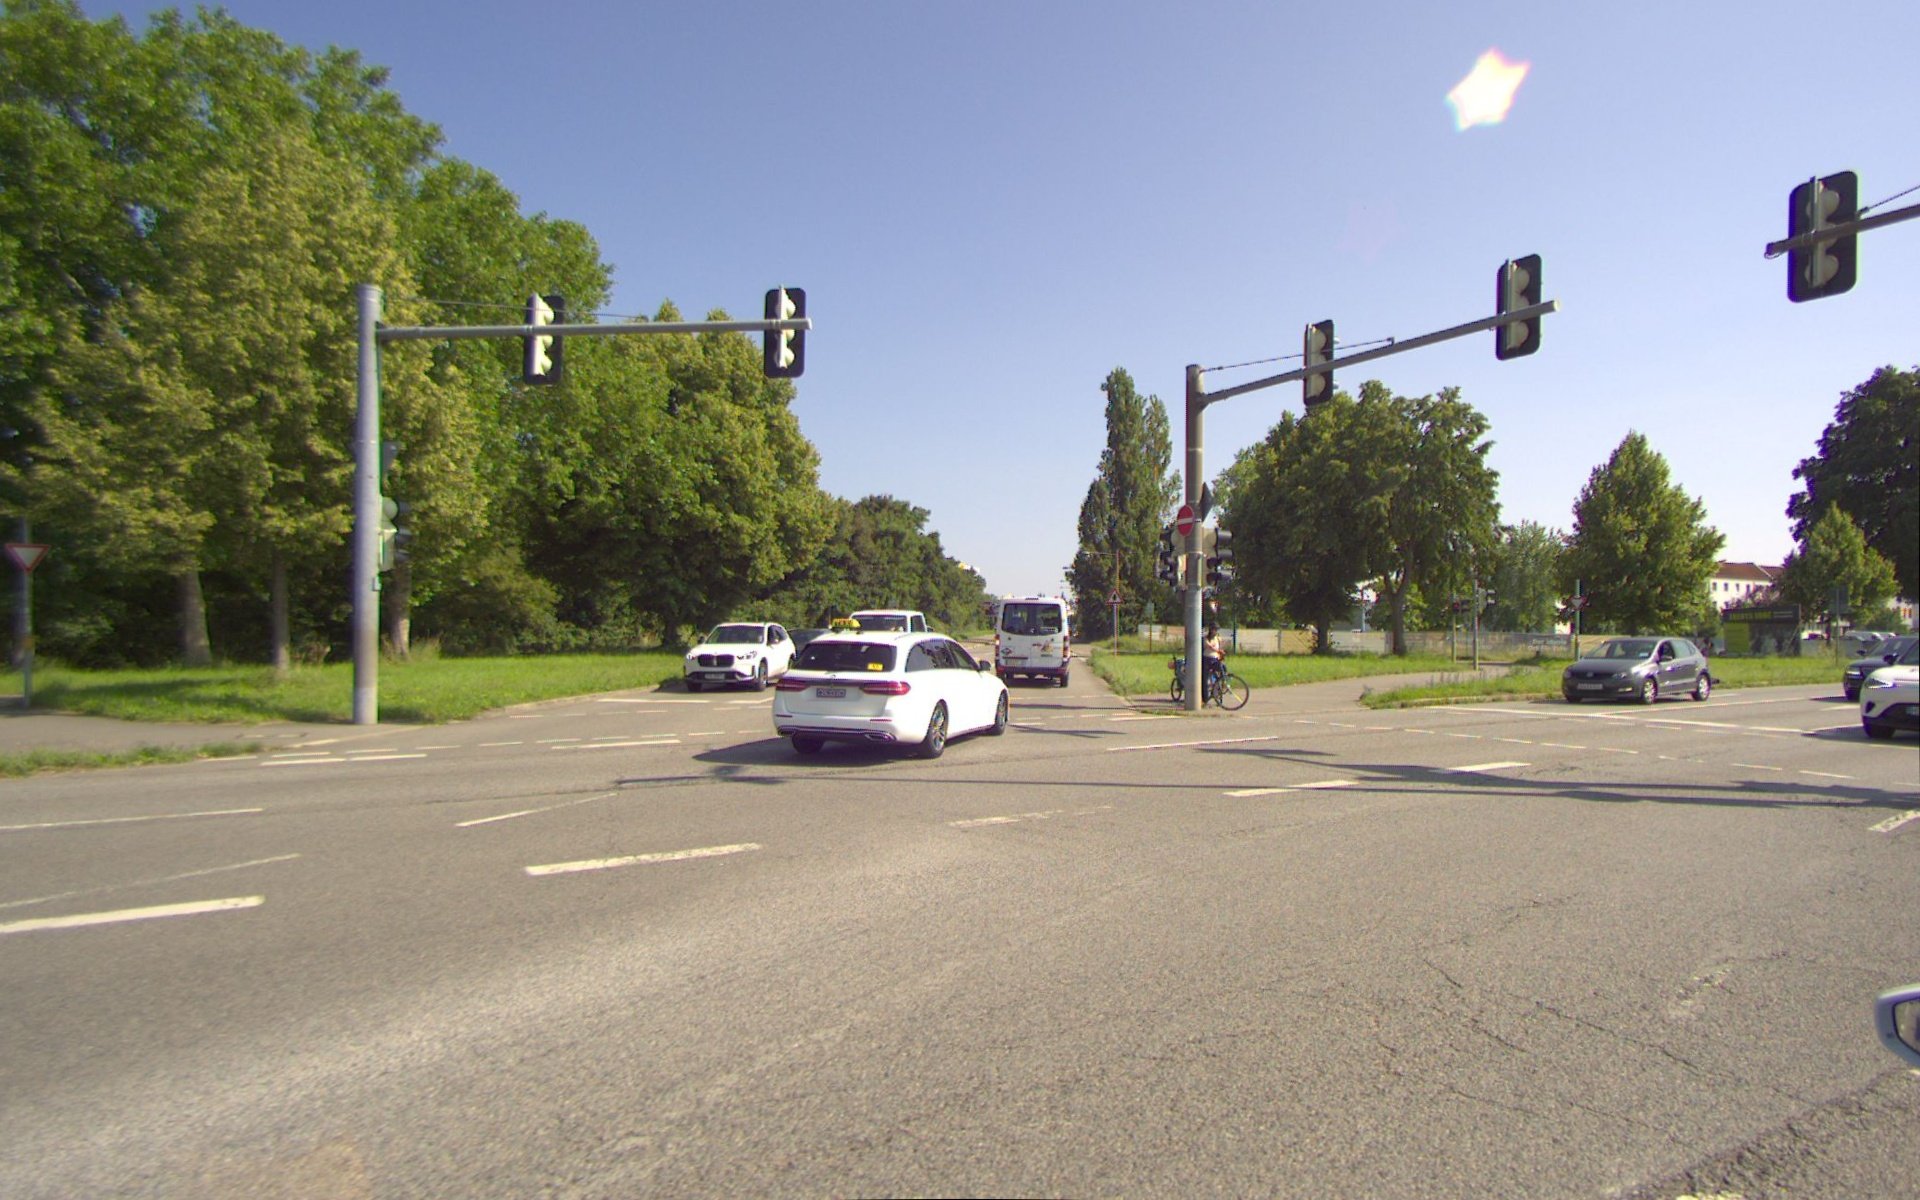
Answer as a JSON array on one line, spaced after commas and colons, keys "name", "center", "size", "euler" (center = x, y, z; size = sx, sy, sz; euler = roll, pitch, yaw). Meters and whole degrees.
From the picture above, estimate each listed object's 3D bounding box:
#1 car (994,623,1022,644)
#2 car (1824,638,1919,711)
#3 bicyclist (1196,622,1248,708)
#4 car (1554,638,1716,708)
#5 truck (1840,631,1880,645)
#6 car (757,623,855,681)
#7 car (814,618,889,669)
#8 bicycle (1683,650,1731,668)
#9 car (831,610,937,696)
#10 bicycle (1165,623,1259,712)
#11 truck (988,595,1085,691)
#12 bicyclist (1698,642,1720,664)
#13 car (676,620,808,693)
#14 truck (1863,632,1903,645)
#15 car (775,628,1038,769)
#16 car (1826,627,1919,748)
[{"name": "car", "center": [4.390, 3.020, 91.954], "size": [1.741, 1.773, 4.101], "euler": [2, 0, 14]}, {"name": "car", "center": [21.302, 1.595, 22.279], "size": [4.216, 1.456, 1.922], "euler": [1, -2, -29]}, {"name": "bicyclist", "center": [5.193, 1.265, 19.959], "size": [0.743, 1.640, 0.865], "euler": [2, 0, -2]}, {"name": "car", "center": [14.912, 1.571, 22.156], "size": [3.718, 1.433, 1.479], "euler": [1, -3, -30]}, {"name": "truck", "center": [145.823, 6.130, 162.746], "size": [2.028, 2.040, 4.479], "euler": [2, 0, -30]}, {"name": "car", "center": [-4.623, 1.538, 30.772], "size": [1.964, 1.627, 4.271], "euler": [0, -2, 5]}, {"name": "car", "center": [-4.024, 1.617, 38.006], "size": [1.964, 1.824, 4.510], "euler": [0, -2, 5]}, {"name": "bicycle", "center": [43.064, 3.387, 57.906], "size": [2.468, 0.963, 0.838], "euler": [1, -1, -13]}, {"name": "car", "center": [-1.844, 1.305, 25.952], "size": [1.960, 1.976, 4.658], "euler": [1, -1, 5]}, {"name": "bicycle", "center": [5.188, 1.345, 20.918], "size": [1.114, 1.692, 2.800], "euler": [1, -1, -3]}, {"name": "truck", "center": [2.308, 1.138, 28.503], "size": [2.333, 2.420, 6.044], "euler": [0, -1, 8]}, {"name": "bicyclist", "center": [43.174, 3.037, 57.888], "size": [0.877, 1.233, 0.610], "euler": [1, -1, -13]}, {"name": "car", "center": [-5.240, 1.339, 24.741], "size": [1.964, 1.627, 4.271], "euler": [0, -2, 5]}, {"name": "truck", "center": [153.317, 6.365, 166.810], "size": [2.028, 2.040, 4.479], "euler": [2, 0, -30]}, {"name": "car", "center": [-0.433, 1.145, 13.351], "size": [1.782, 1.483, 4.972], "euler": [0, -2, 19]}, {"name": "car", "center": [14.848, 1.246, 14.796], "size": [4.163, 1.631, 2.000], "euler": [2, -2, -31]}]
